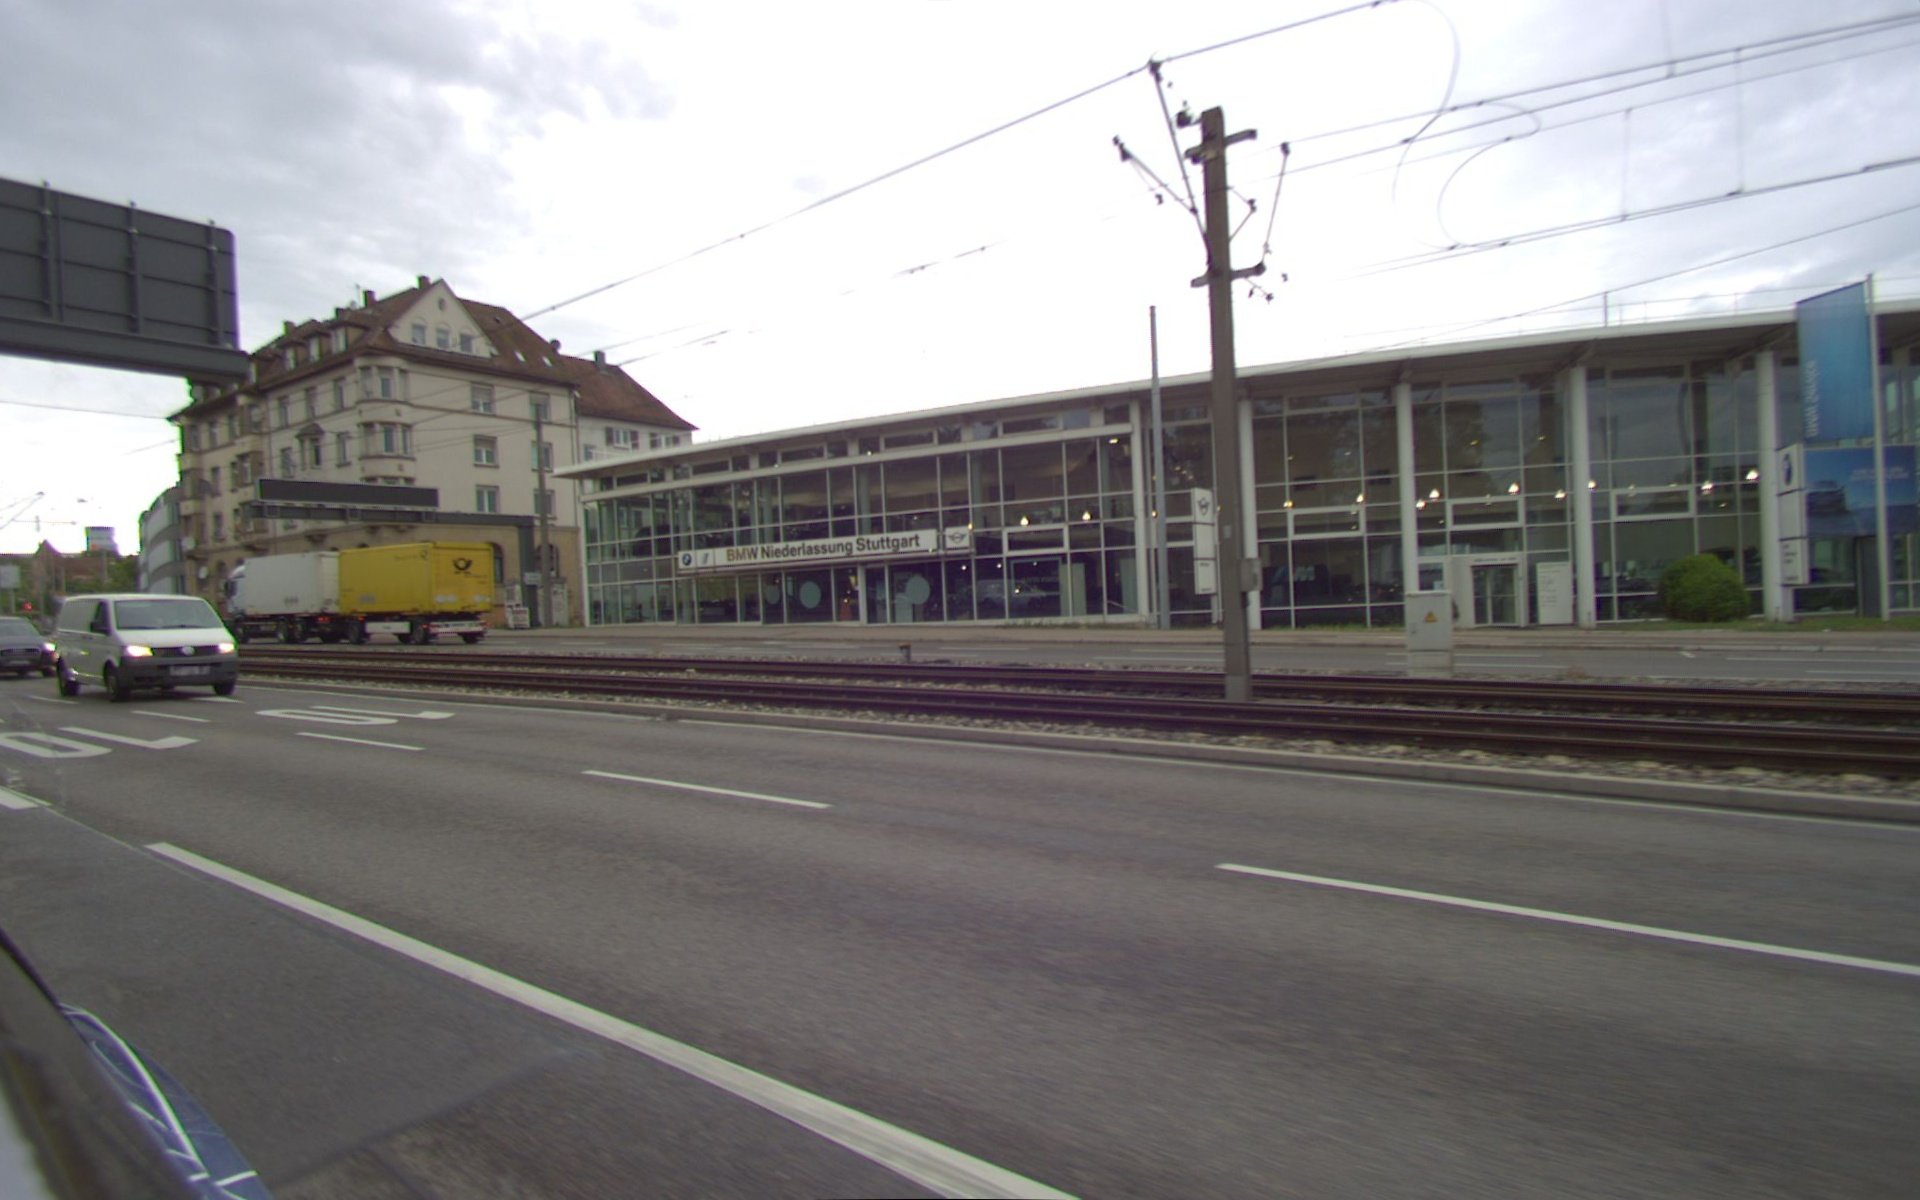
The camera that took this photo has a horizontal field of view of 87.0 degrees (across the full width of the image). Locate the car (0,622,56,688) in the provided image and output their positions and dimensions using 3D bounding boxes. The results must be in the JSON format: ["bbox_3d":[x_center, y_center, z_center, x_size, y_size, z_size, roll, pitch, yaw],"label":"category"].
[{"bbox_3d":[-25.013,1.398,26.096,3.886,1.585,1.690,-2,0,35],"label":"car"}]

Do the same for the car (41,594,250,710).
[{"bbox_3d":[-15.710,0.941,19.455,4.707,1.973,1.893,-2,0,35],"label":"car"}]

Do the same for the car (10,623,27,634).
[{"bbox_3d":[-154.153,4.634,165.700,1.809,1.811,4.221,0,-2,-41],"label":"car"}]

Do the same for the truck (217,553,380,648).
[{"bbox_3d":[-31.209,0.092,47.522,10.115,4.082,2.661,-1,0,34],"label":"truck"}]

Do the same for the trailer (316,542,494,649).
[{"bbox_3d":[-23.280,-0.098,42.218,9.058,4.082,2.661,-1,0,34],"label":"trailer"}]
